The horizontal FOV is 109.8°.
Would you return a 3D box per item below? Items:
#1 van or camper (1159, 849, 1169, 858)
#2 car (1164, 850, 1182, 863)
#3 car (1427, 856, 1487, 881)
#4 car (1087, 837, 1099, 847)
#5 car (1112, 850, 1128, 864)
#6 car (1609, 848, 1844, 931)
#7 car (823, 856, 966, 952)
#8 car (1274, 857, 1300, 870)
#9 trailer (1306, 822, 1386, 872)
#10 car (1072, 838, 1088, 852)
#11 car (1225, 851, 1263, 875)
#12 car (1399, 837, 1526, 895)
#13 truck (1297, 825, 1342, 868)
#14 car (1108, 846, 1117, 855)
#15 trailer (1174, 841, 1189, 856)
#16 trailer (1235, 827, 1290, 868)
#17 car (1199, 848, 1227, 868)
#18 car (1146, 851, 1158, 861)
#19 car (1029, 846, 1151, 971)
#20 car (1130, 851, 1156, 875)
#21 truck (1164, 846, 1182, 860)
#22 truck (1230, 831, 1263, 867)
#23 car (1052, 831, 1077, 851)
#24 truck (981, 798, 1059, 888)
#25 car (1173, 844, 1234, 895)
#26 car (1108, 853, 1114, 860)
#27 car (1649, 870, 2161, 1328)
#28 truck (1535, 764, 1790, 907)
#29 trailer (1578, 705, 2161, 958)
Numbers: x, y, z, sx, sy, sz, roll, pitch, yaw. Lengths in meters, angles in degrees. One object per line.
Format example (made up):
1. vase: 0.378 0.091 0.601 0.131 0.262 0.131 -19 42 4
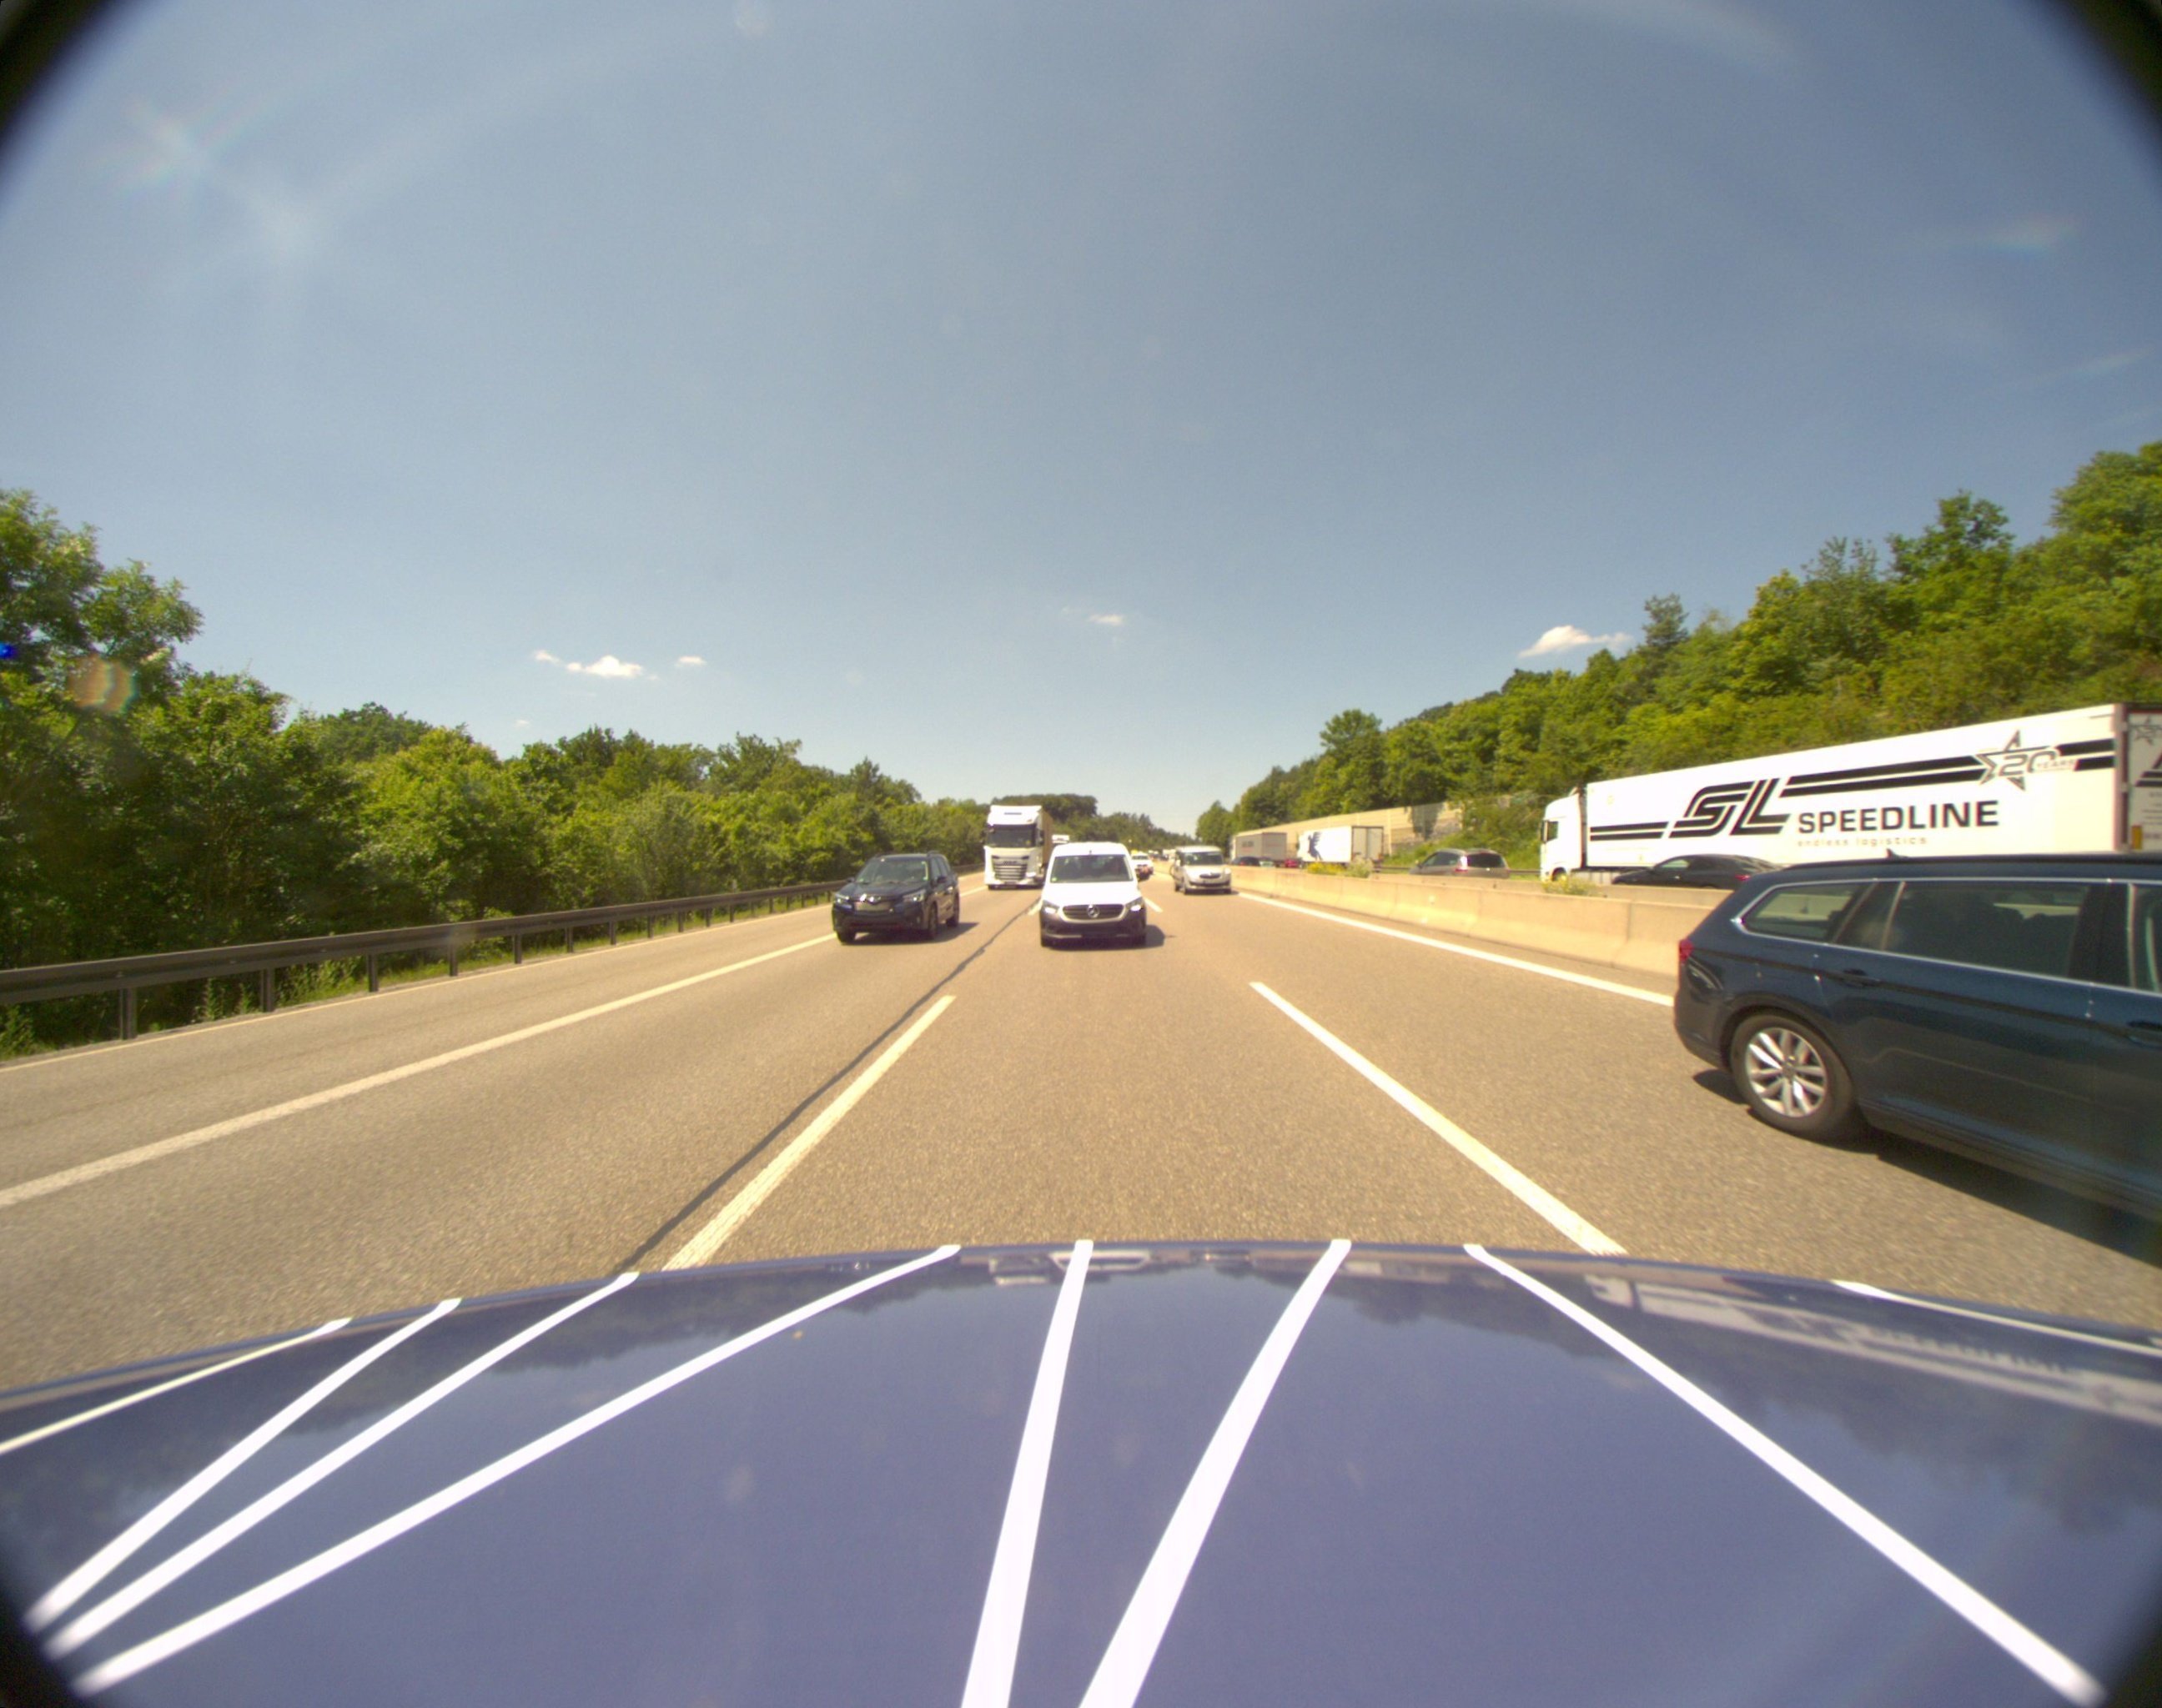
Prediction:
1. van or camper: 25.757 -0.141 235.480 2.275 2.720 6.804 1 1 0
2. car: 12.663 0.338 104.690 1.999 1.783 4.000 -2 0 0
3. car: 23.177 0.864 46.974 1.671 1.458 4.190 -1 0 1
4. car: 2.948 -2.915 186.865 2.721 2.534 5.941 1 1 3
5. car: 5.329 0.442 103.891 1.998 1.783 4.000 -2 0 1
6. car: 15.608 0.748 18.799 1.789 1.766 4.730 1 1 1
7. car: -3.665 0.905 15.746 1.816 1.658 4.203 -1 0 1
8. car: 23.054 1.007 85.028 1.767 1.362 4.501 0 0 1
9. trailer: 23.232 -0.686 67.550 2.814 4.024 12.624 0 1 1
10. car: -0.092 -1.716 146.731 2.721 2.534 5.941 1 1 3
11. car: 11.995 0.618 56.230 1.911 1.630 4.537 -1 0 1
12. car: 12.595 0.323 25.490 1.888 1.746 4.787 1 1 1
13. truck: 23.285 -0.777 74.403 2.814 4.024 5.084 0 1 0
14. car: 7.363 -0.843 174.878 1.998 2.002 4.001 0 0 3
15. trailer: 28.479 -1.639 216.190 2.819 3.886 13.827 1 1 2
16. trailer: 19.884 -0.739 84.519 2.842 4.141 14.736 1 1 1
17. car: 12.886 0.348 74.627 1.916 1.837 5.035 1 1 1
18. car: 14.192 0.367 152.214 1.952 1.791 4.693 1 1 1
19. car: 0.209 0.770 13.061 1.729 1.760 4.313 -1 1 2
20. car: 4.860 0.683 59.997 1.998 1.827 4.001 0 1 4
21. truck: 18.884 -0.285 156.111 2.534 2.673 11.627 1 1 1
22. truck: 20.004 -0.637 92.048 2.848 4.190 5.659 -1 0 1
23. car: -2.086 -1.720 99.607 2.721 2.534 5.941 1 1 3
24. truck: -3.032 -0.535 43.053 2.790 4.144 16.268 0 0 1
25. car: 4.652 0.546 29.320 1.780 1.833 4.000 -1 0 1
26. car: 8.246 0.738 209.857 1.678 2.002 3.907 0 0 1
27. car: 4.351 0.822 2.331 1.737 1.419 4.730 0 0 1
28. truck: 19.087 -0.586 25.777 2.810 4.141 7.598 0 1 0
29. trailer: 19.094 -0.485 19.968 2.810 4.313 14.034 0 1 0
